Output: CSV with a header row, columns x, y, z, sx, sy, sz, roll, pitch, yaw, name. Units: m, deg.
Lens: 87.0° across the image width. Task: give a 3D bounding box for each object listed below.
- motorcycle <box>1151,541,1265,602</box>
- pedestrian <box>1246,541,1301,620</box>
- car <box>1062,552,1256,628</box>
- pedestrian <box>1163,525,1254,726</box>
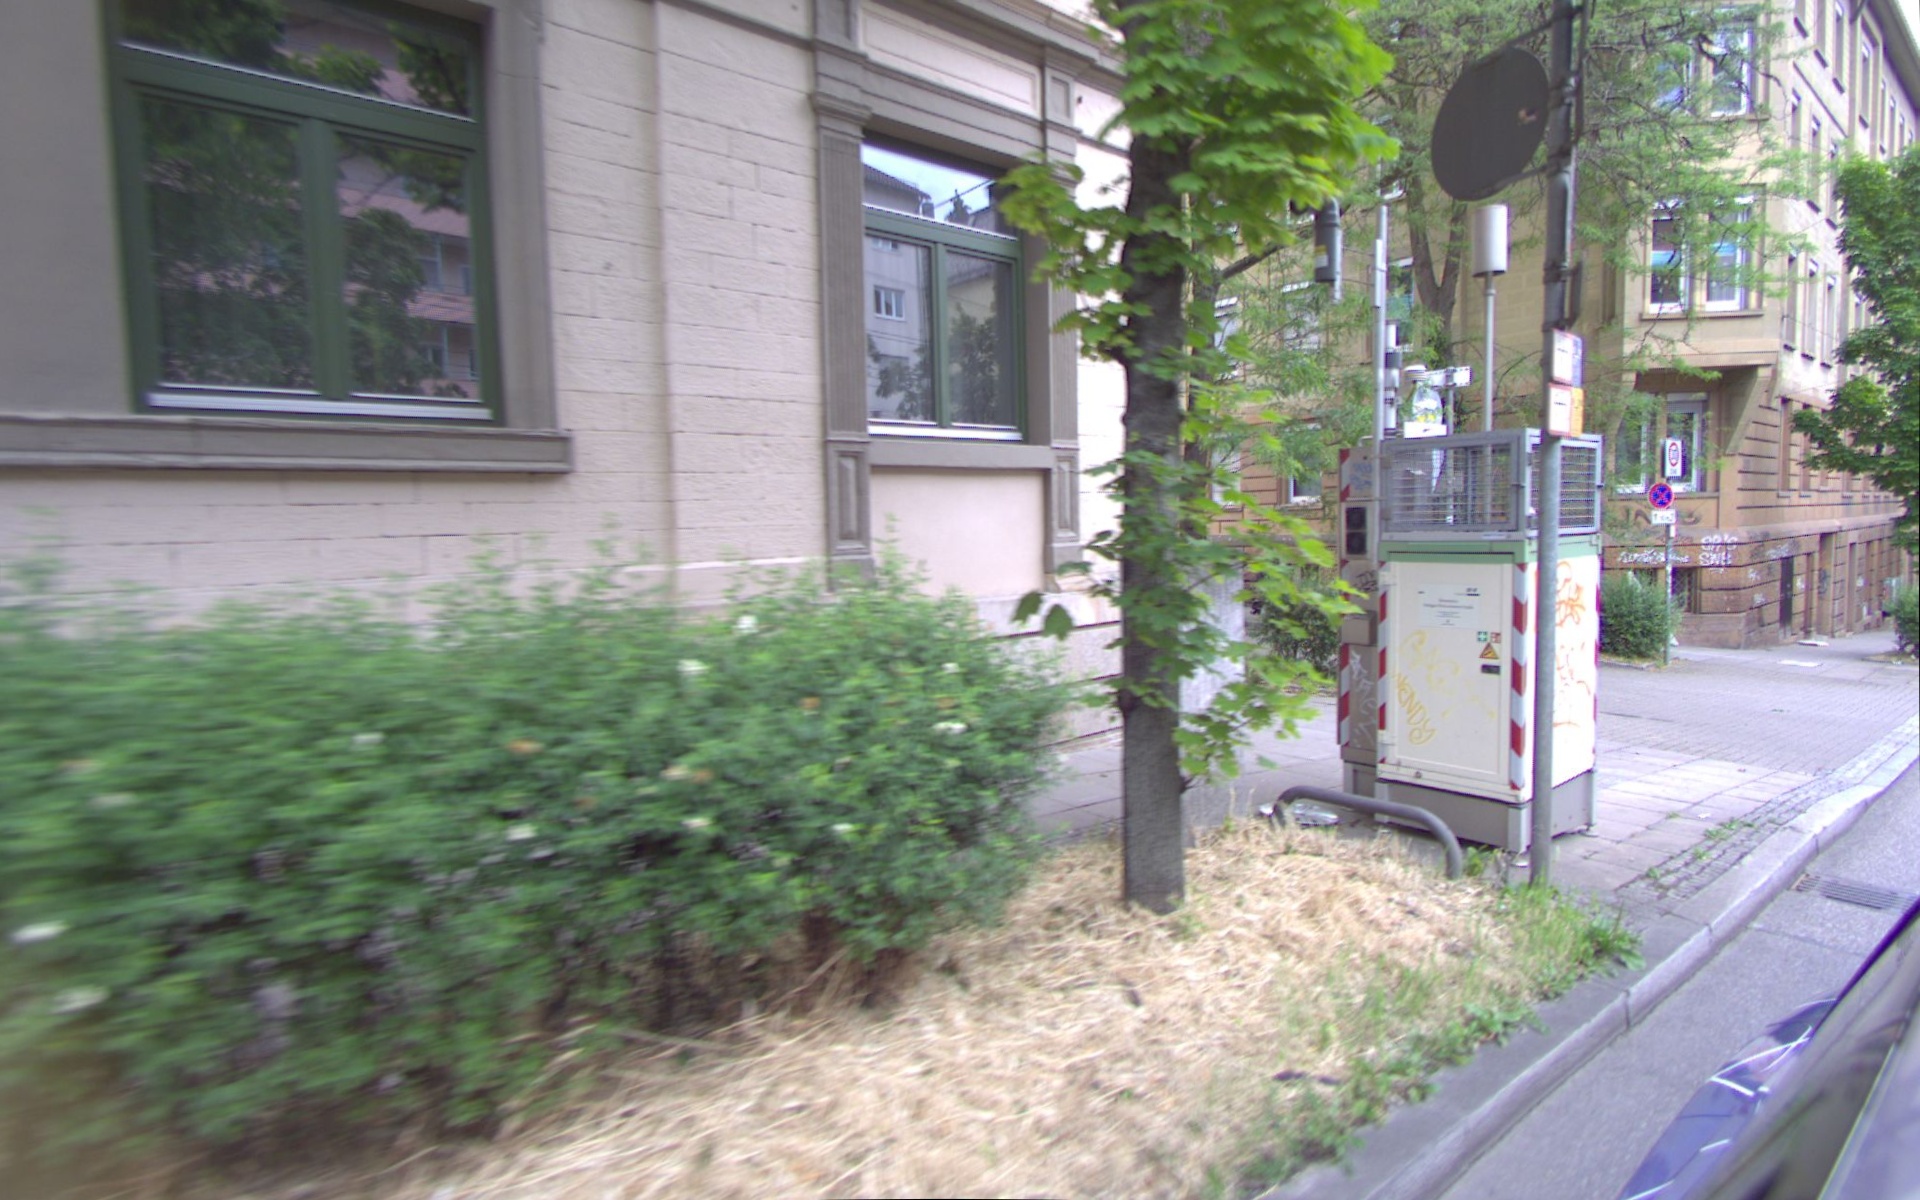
x,y,z,sx,sy,sz,roll,pitch,yaw,name
6.333,-0.766,26.011,0.824,1.452,2.925,-4,5,-40,motorcycle
7.237,-0.464,23.376,0.835,1.705,0.860,-5,8,-41,pedestrian
4.474,-0.279,23.233,1.780,1.395,4.096,0,5,-41,car
2.230,0.198,9.155,0.701,1.683,1.122,2,1,13,pedestrian
